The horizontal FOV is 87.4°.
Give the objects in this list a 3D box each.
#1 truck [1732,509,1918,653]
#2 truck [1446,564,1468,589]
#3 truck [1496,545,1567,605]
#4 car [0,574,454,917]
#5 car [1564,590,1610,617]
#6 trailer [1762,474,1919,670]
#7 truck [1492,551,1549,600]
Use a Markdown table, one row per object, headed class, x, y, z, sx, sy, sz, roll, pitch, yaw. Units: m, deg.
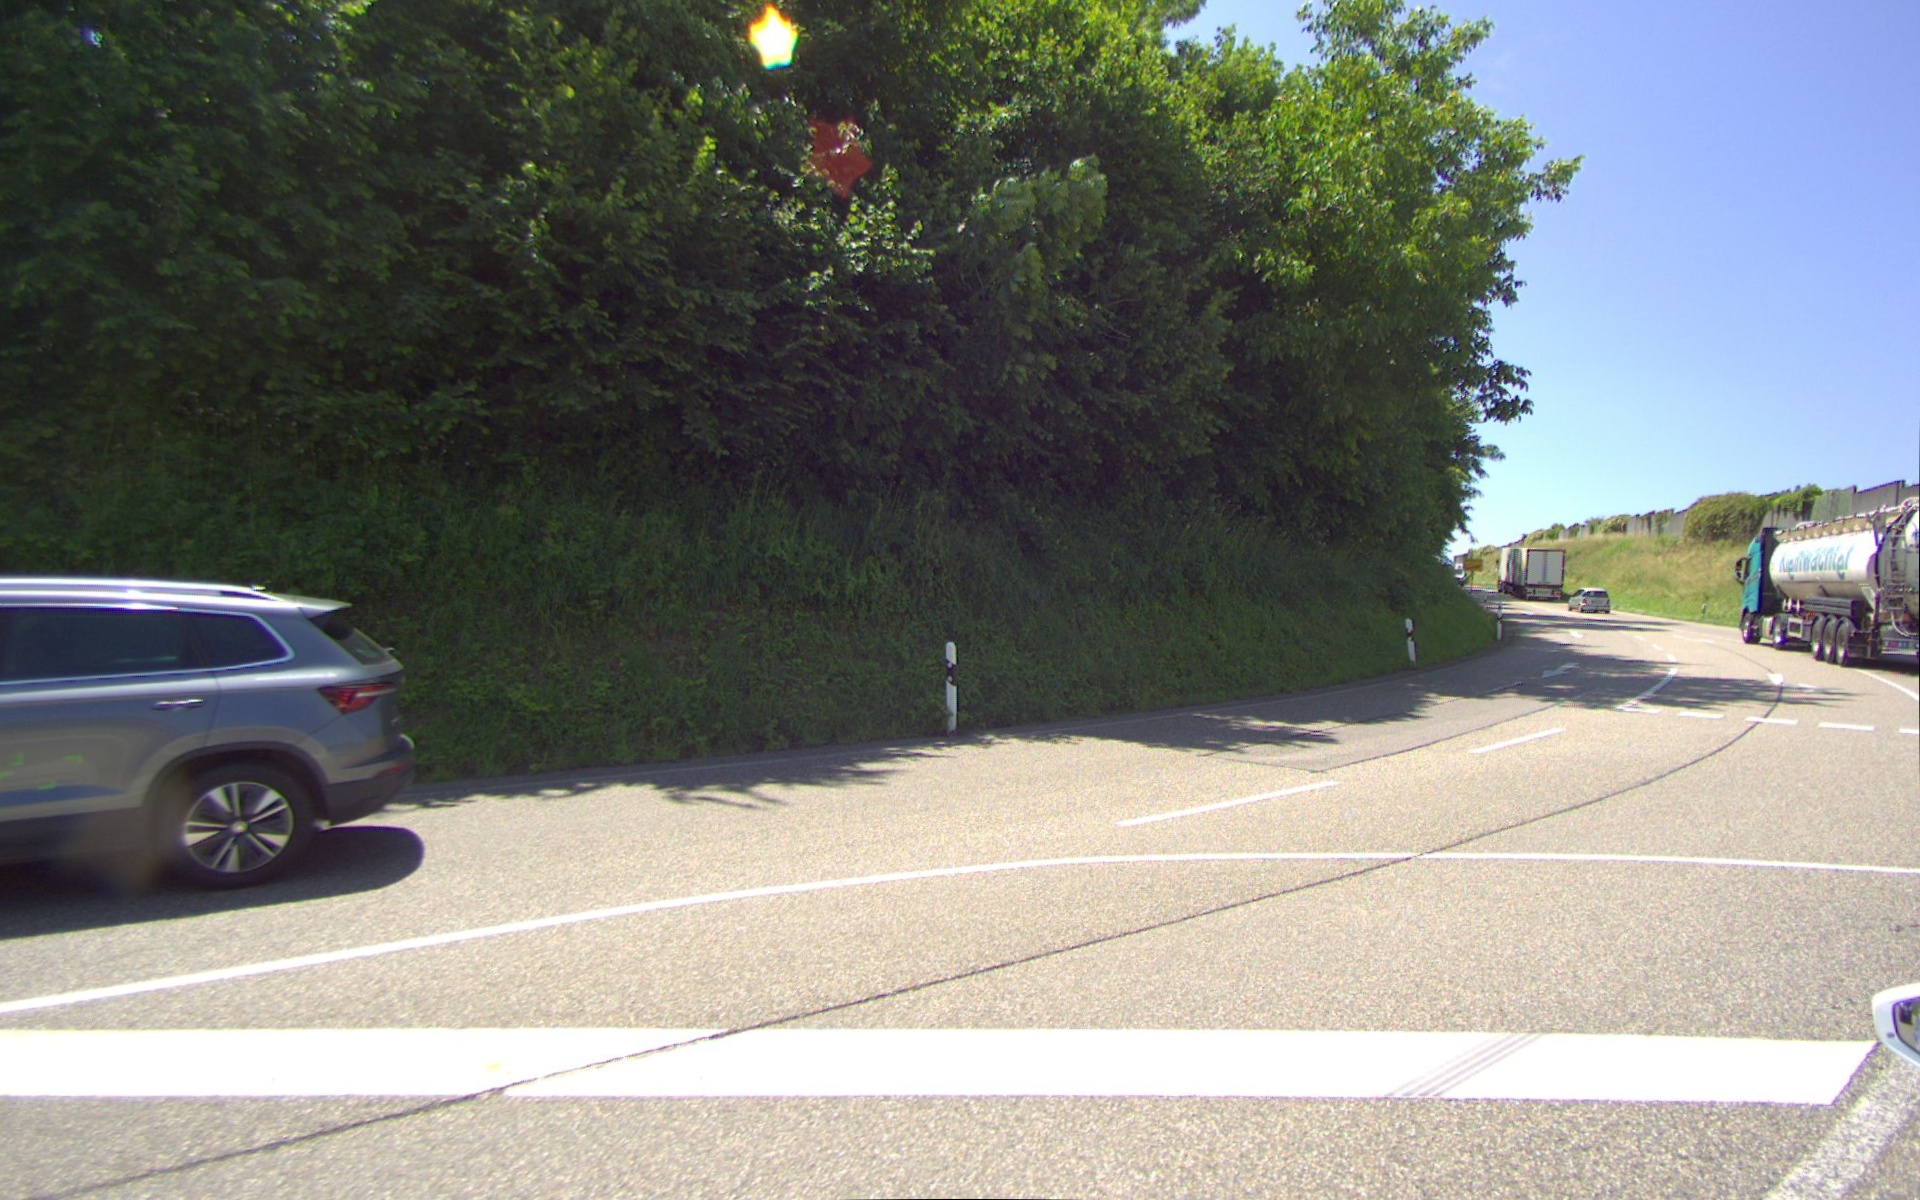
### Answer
| class | x | y | z | sx | sy | sz | roll | pitch | yaw |
| --- | --- | --- | --- | --- | --- | --- | --- | --- | --- |
| truck | 26.998 | -0.618 | 31.768 | 2.685 | 3.983 | 7.252 | 2 | 2 | 27 |
| truck | 60.794 | -2.852 | 122.959 | 2.021 | 2.722 | 5.976 | 6 | 2 | 24 |
| truck | 46.821 | -2.177 | 82.626 | 3.139 | 4.368 | 11.792 | 5 | 4 | 22 |
| car | -5.150 | 0.692 | 5.439 | 4.136 | 1.626 | 1.780 | 1 | 0 | -34 |
| car | 39.886 | 0.194 | 63.992 | 1.620 | 1.529 | 3.638 | 5 | 3 | 19 |
| trailer | 24.154 | -0.660 | 26.724 | 2.623 | 4.245 | 11.877 | 2 | 2 | 31 |
| truck | 48.978 | -2.160 | 88.047 | 3.139 | 3.986 | 8.246 | 4 | 3 | 22 |
